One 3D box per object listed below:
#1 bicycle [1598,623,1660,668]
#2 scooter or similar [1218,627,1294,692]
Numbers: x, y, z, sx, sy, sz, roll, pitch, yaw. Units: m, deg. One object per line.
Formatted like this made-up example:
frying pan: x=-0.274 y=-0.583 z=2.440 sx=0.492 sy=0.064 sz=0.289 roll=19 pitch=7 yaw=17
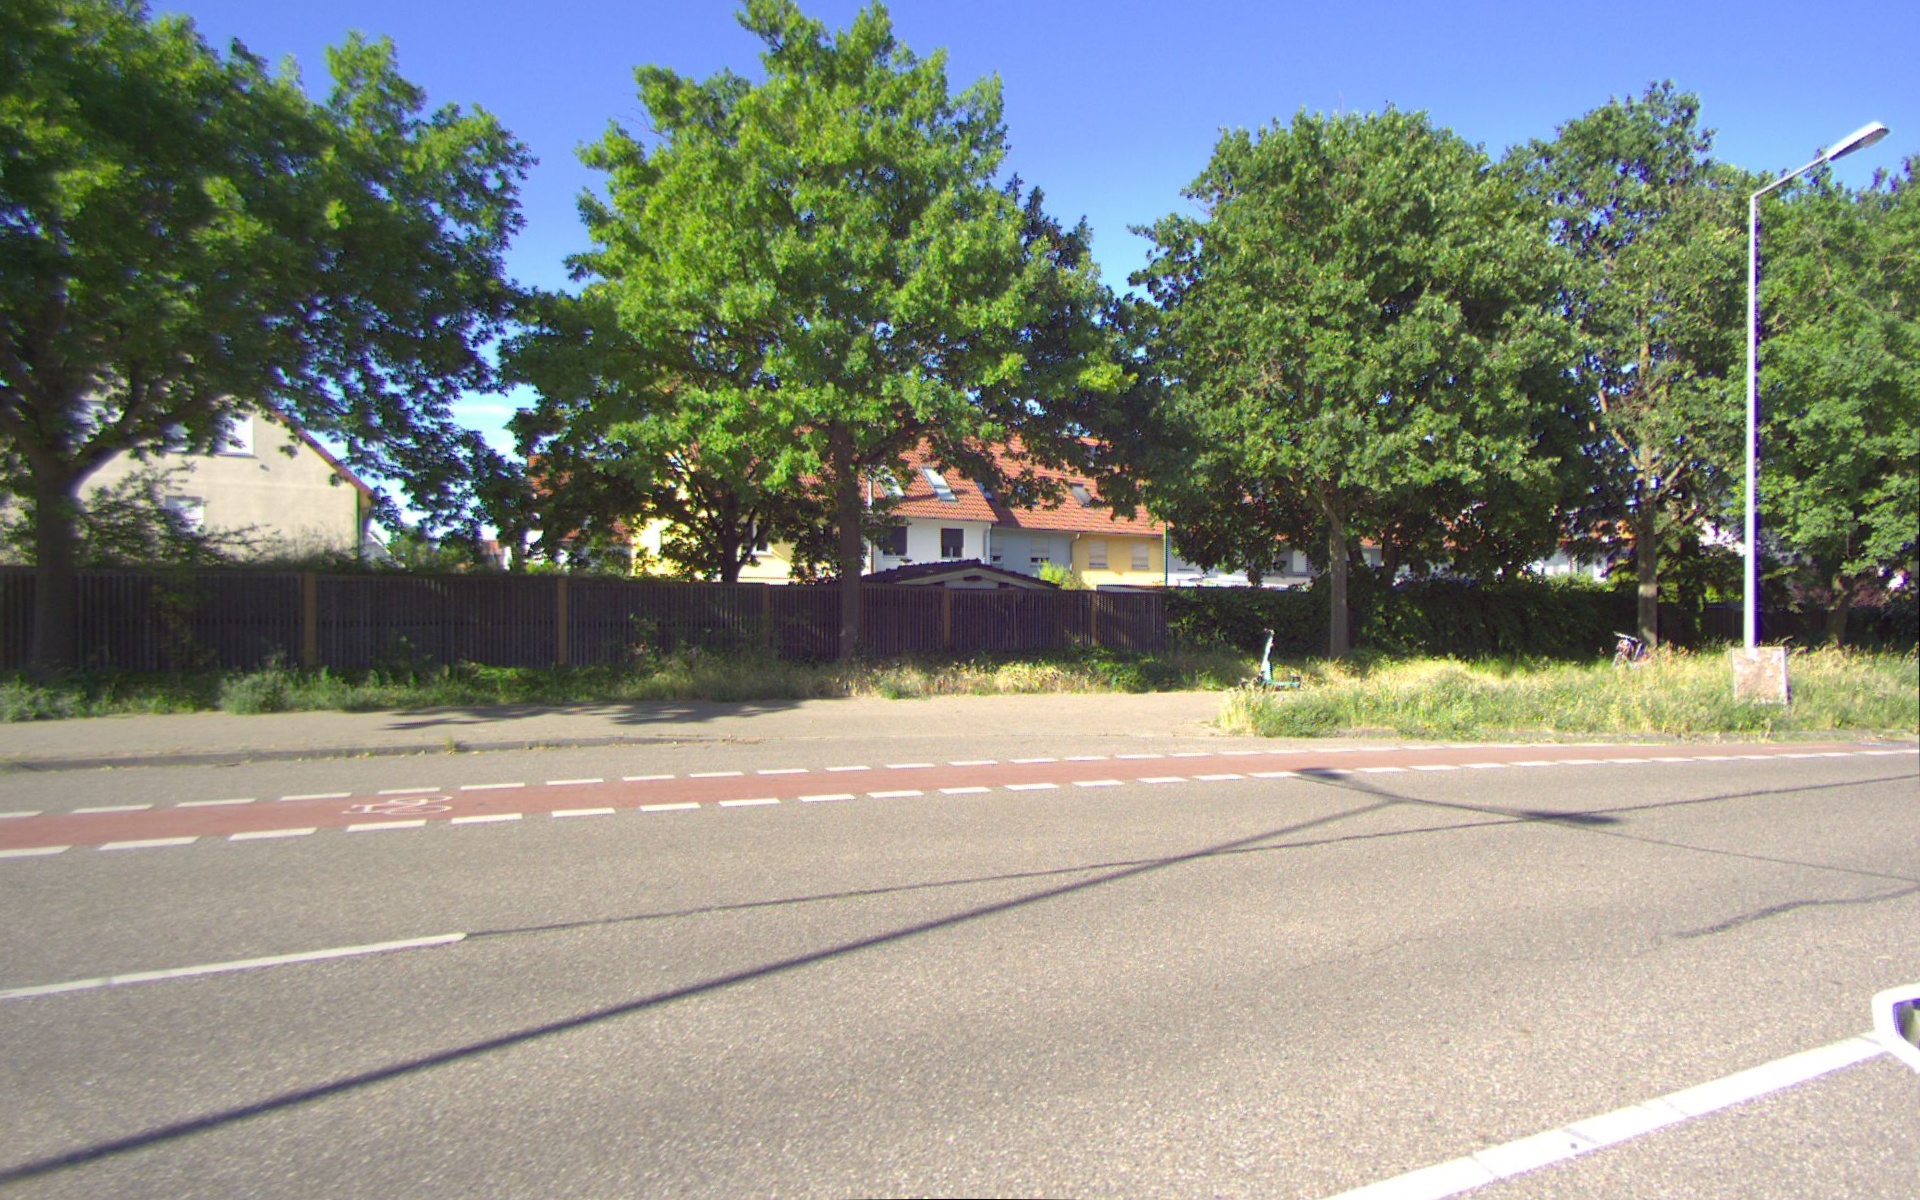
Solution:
bicycle: x=16.575 y=1.122 z=24.873 sx=1.858 sy=1.067 sz=0.503 roll=1 pitch=-1 yaw=-30
scooter or similar: x=5.927 y=1.187 z=20.134 sx=1.389 sy=1.235 sz=0.539 roll=0 pitch=1 yaw=-14
